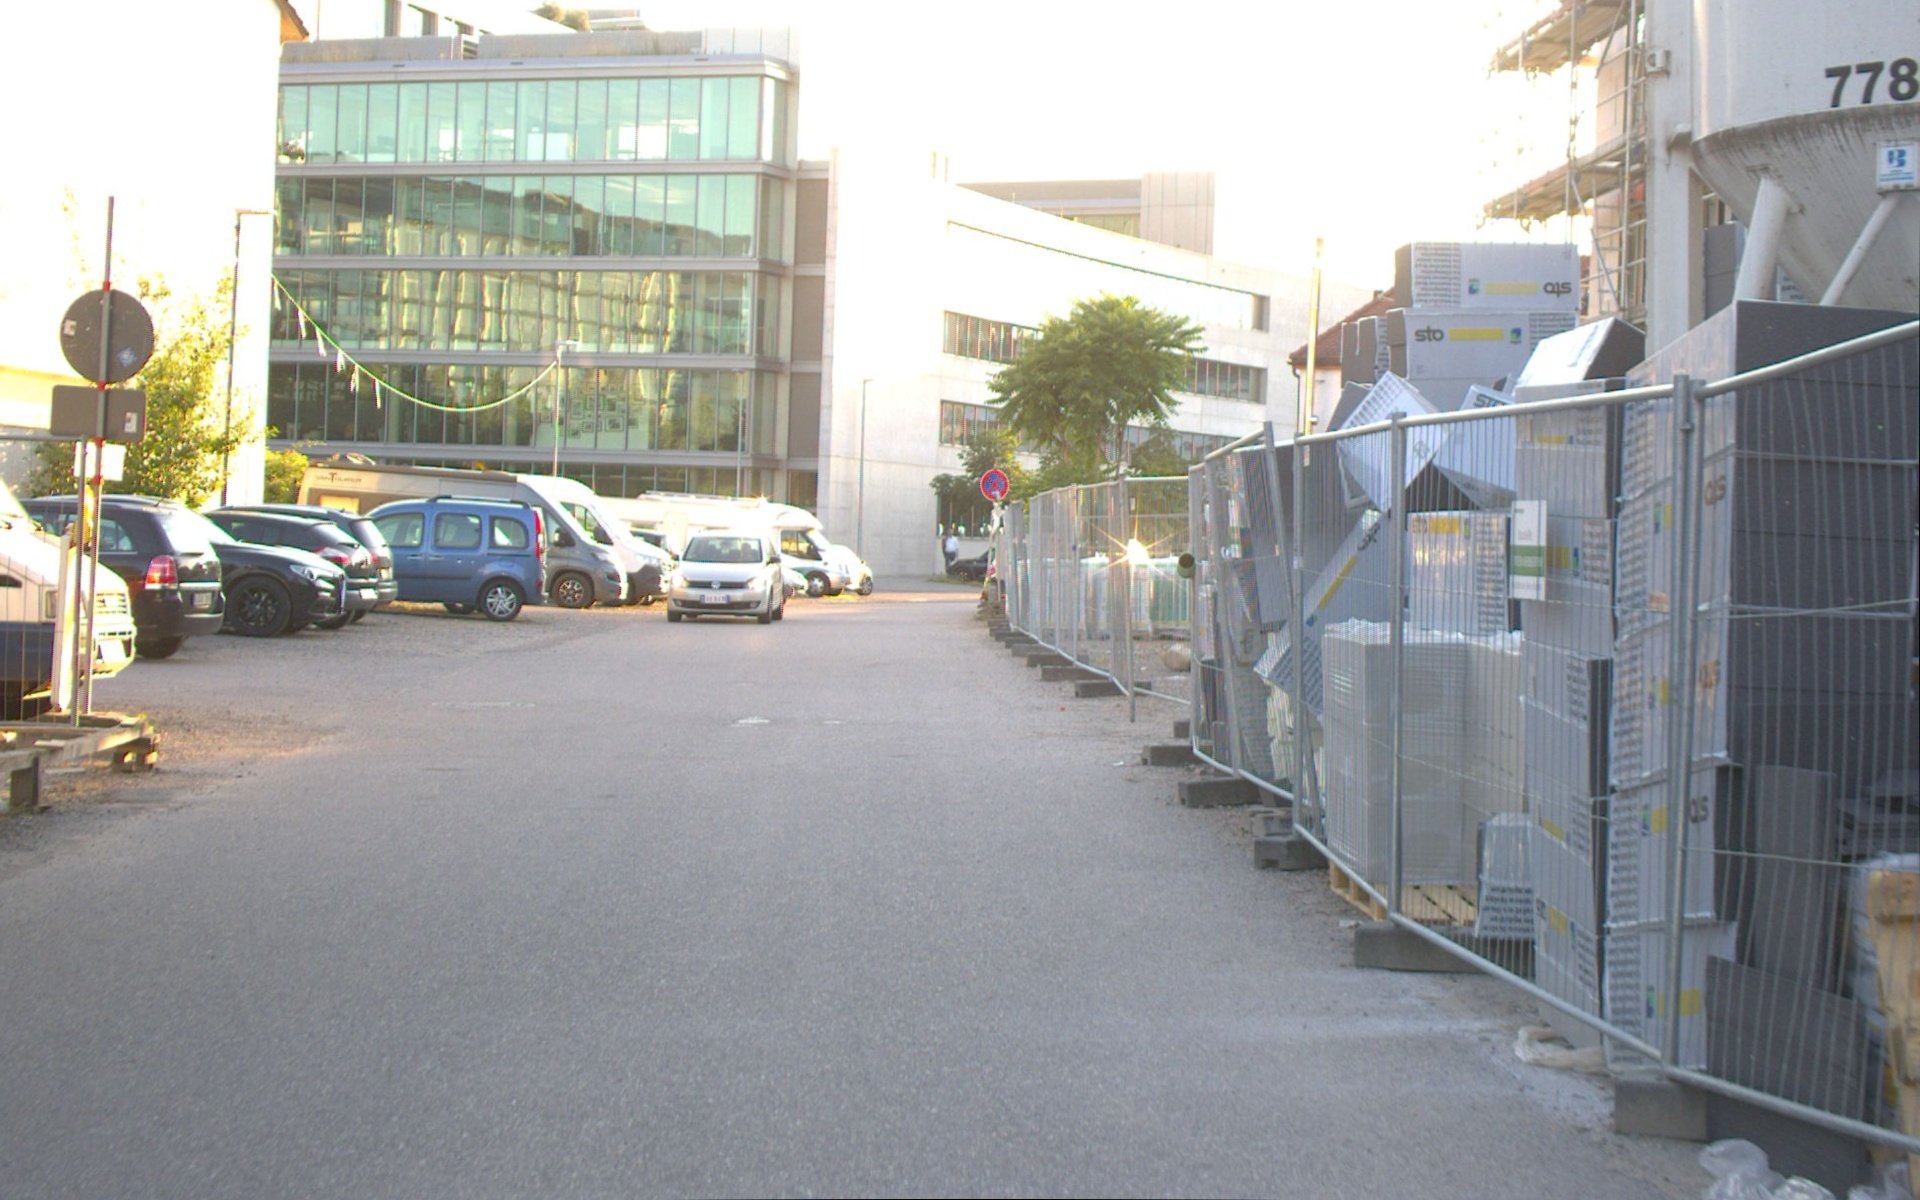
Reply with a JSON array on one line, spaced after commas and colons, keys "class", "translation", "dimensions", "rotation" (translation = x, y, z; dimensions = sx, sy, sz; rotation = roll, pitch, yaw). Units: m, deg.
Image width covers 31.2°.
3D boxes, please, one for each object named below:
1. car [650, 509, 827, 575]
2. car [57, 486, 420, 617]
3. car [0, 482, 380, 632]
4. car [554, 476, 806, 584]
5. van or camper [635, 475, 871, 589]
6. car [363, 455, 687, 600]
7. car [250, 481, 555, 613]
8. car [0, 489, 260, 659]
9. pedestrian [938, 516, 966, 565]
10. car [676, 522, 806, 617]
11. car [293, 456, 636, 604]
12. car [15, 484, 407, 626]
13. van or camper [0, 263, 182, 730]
[{"class": "car", "translation": [-6.042, -1.592, 94.167], "dimensions": [4.505, 1.642, 2.000], "rotation": [2, 1, 8]}, {"class": "car", "translation": [-10.010, -0.694, 47.856], "dimensions": [4.505, 1.642, 2.000], "rotation": [2, 1, 8]}, {"class": "car", "translation": [-9.535, -0.547, 41.691], "dimensions": [4.505, 1.642, 2.000], "rotation": [2, 1, 8]}, {"class": "car", "translation": [-6.990, -1.763, 85.996], "dimensions": [5.926, 2.481, 1.999], "rotation": [2, 1, 10]}, {"class": "van or camper", "translation": [-5.998, -1.980, 99.836], "dimensions": [6.336, 2.968, 2.291], "rotation": [3, 1, 11]}, {"class": "car", "translation": [-8.877, -1.491, 70.536], "dimensions": [6.328, 2.731, 2.000], "rotation": [2, 1, -1]}, {"class": "car", "translation": [-8.529, -0.827, 52.948], "dimensions": [4.503, 1.862, 2.001], "rotation": [2, 1, -7]}, {"class": "car", "translation": [-9.838, -0.327, 35.945], "dimensions": [4.505, 1.642, 2.000], "rotation": [2, 1, 8]}, {"class": "pedestrian", "translation": [-0.306, -2.242, 129.702], "dimensions": [0.764, 1.810, 0.844], "rotation": [2, 1, 22]}, {"class": "car", "translation": [-3.736, -0.552, 59.198], "dimensions": [1.665, 1.523, 3.910], "rotation": [2, 1, 4]}, {"class": "car", "translation": [-9.581, -1.371, 66.817], "dimensions": [6.328, 2.642, 2.000], "rotation": [2, 1, -1]}, {"class": "car", "translation": [-9.649, -0.596, 44.465], "dimensions": [4.505, 1.642, 2.000], "rotation": [2, 1, 8]}, {"class": "van or camper", "translation": [-10.109, -0.836, 23.850], "dimensions": [8.765, 3.038, 2.595], "rotation": [2, 1, 1]}]
